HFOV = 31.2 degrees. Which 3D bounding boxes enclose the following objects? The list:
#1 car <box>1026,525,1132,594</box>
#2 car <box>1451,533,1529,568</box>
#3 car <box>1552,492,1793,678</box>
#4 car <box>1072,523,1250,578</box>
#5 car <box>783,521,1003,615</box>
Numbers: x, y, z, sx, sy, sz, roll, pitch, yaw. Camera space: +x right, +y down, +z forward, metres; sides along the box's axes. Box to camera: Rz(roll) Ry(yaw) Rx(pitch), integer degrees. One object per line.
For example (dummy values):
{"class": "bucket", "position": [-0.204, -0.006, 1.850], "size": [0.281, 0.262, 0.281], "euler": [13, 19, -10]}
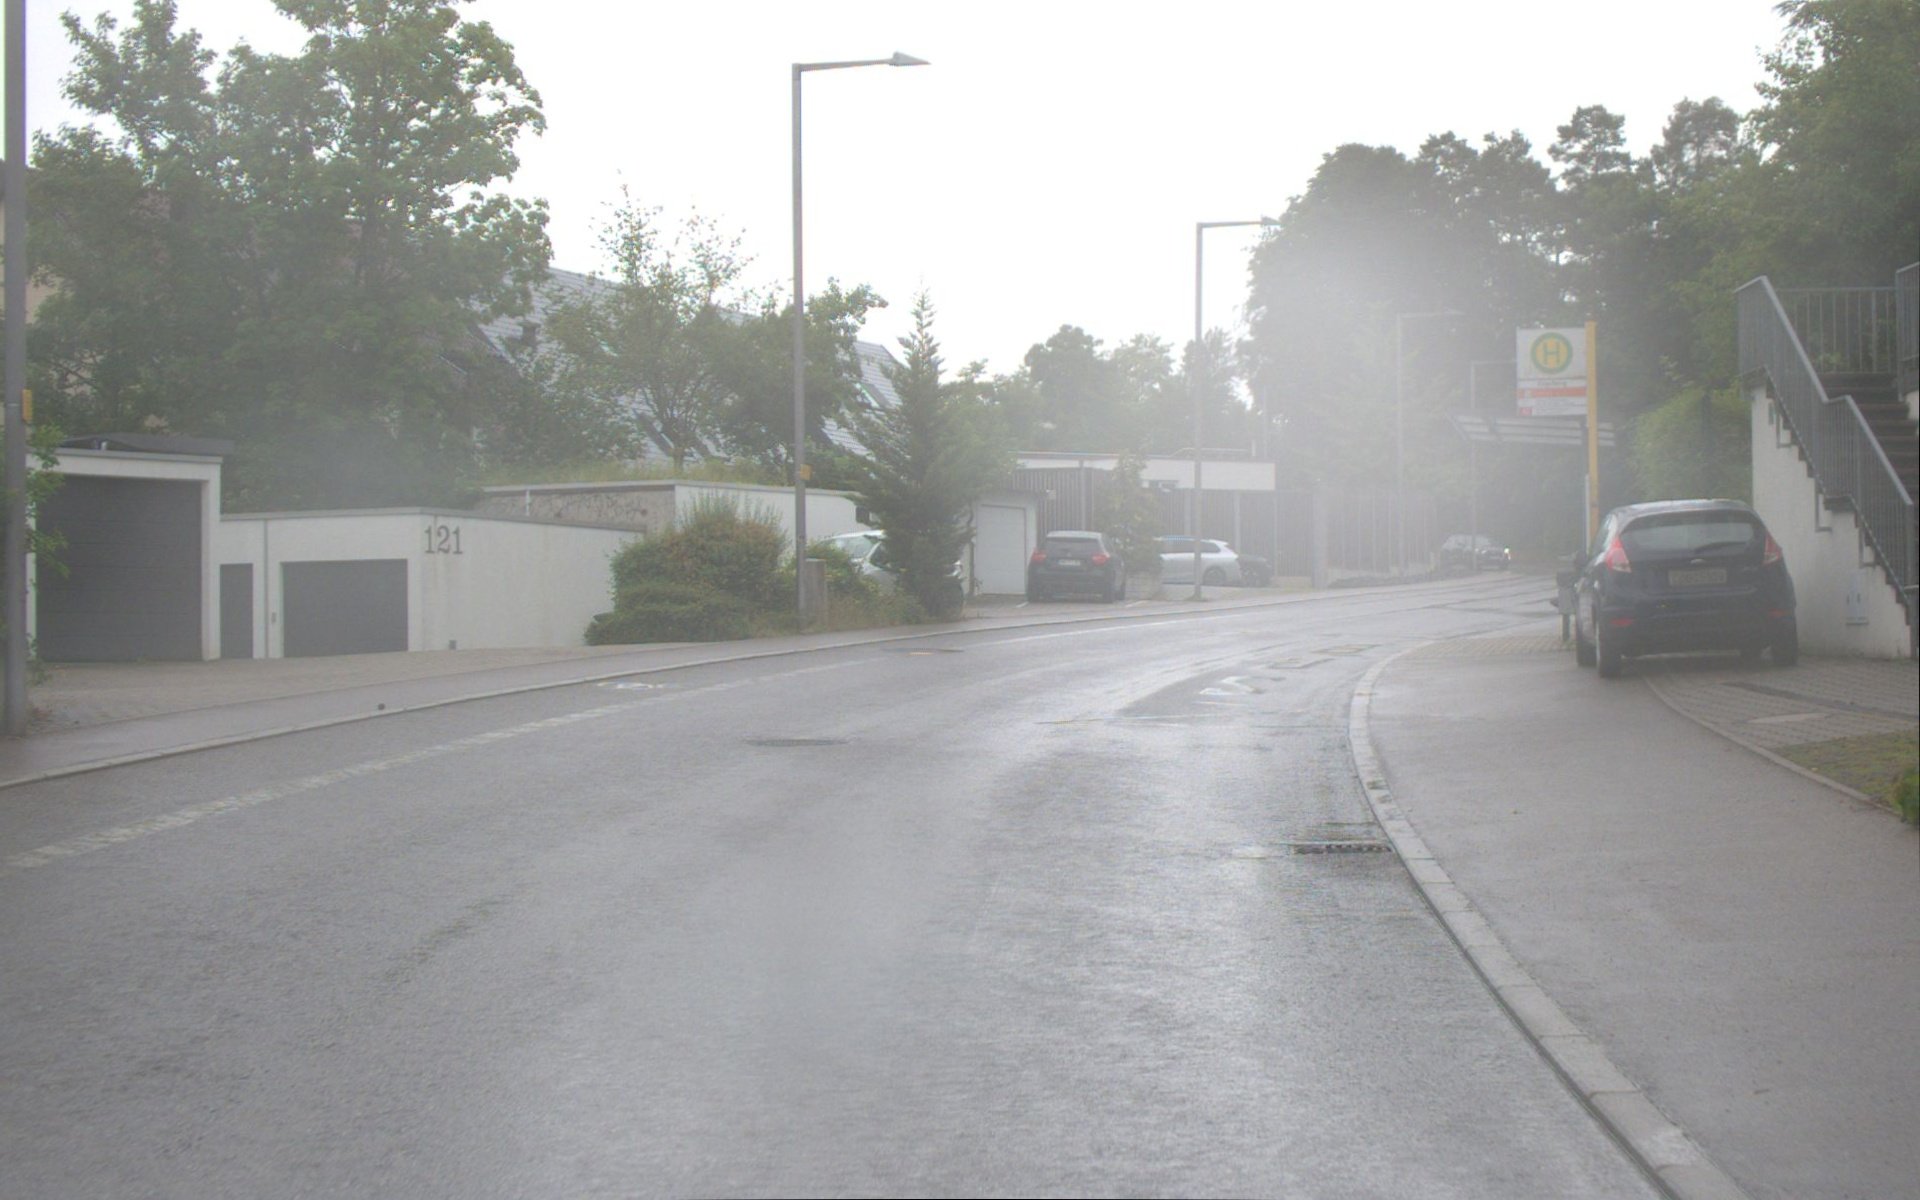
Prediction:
{"class": "car", "position": [2.505, -0.863, 71.747], "size": [1.834, 1.401, 4.259], "euler": [0, 1, 7]}
{"class": "car", "position": [22.317, -2.093, 144.915], "size": [1.850, 1.464, 3.701], "euler": [0, 1, -16]}
{"class": "car", "position": [6.246, -0.160, 30.490], "size": [1.705, 1.449, 4.020], "euler": [-3, 1, 7]}
{"class": "car", "position": [5.476, -1.342, 93.729], "size": [4.517, 1.437, 1.762], "euler": [0, 1, -22]}
{"class": "car", "position": [-1.086, -0.572, 58.496], "size": [1.708, 1.548, 4.381], "euler": [1, 1, 30]}
